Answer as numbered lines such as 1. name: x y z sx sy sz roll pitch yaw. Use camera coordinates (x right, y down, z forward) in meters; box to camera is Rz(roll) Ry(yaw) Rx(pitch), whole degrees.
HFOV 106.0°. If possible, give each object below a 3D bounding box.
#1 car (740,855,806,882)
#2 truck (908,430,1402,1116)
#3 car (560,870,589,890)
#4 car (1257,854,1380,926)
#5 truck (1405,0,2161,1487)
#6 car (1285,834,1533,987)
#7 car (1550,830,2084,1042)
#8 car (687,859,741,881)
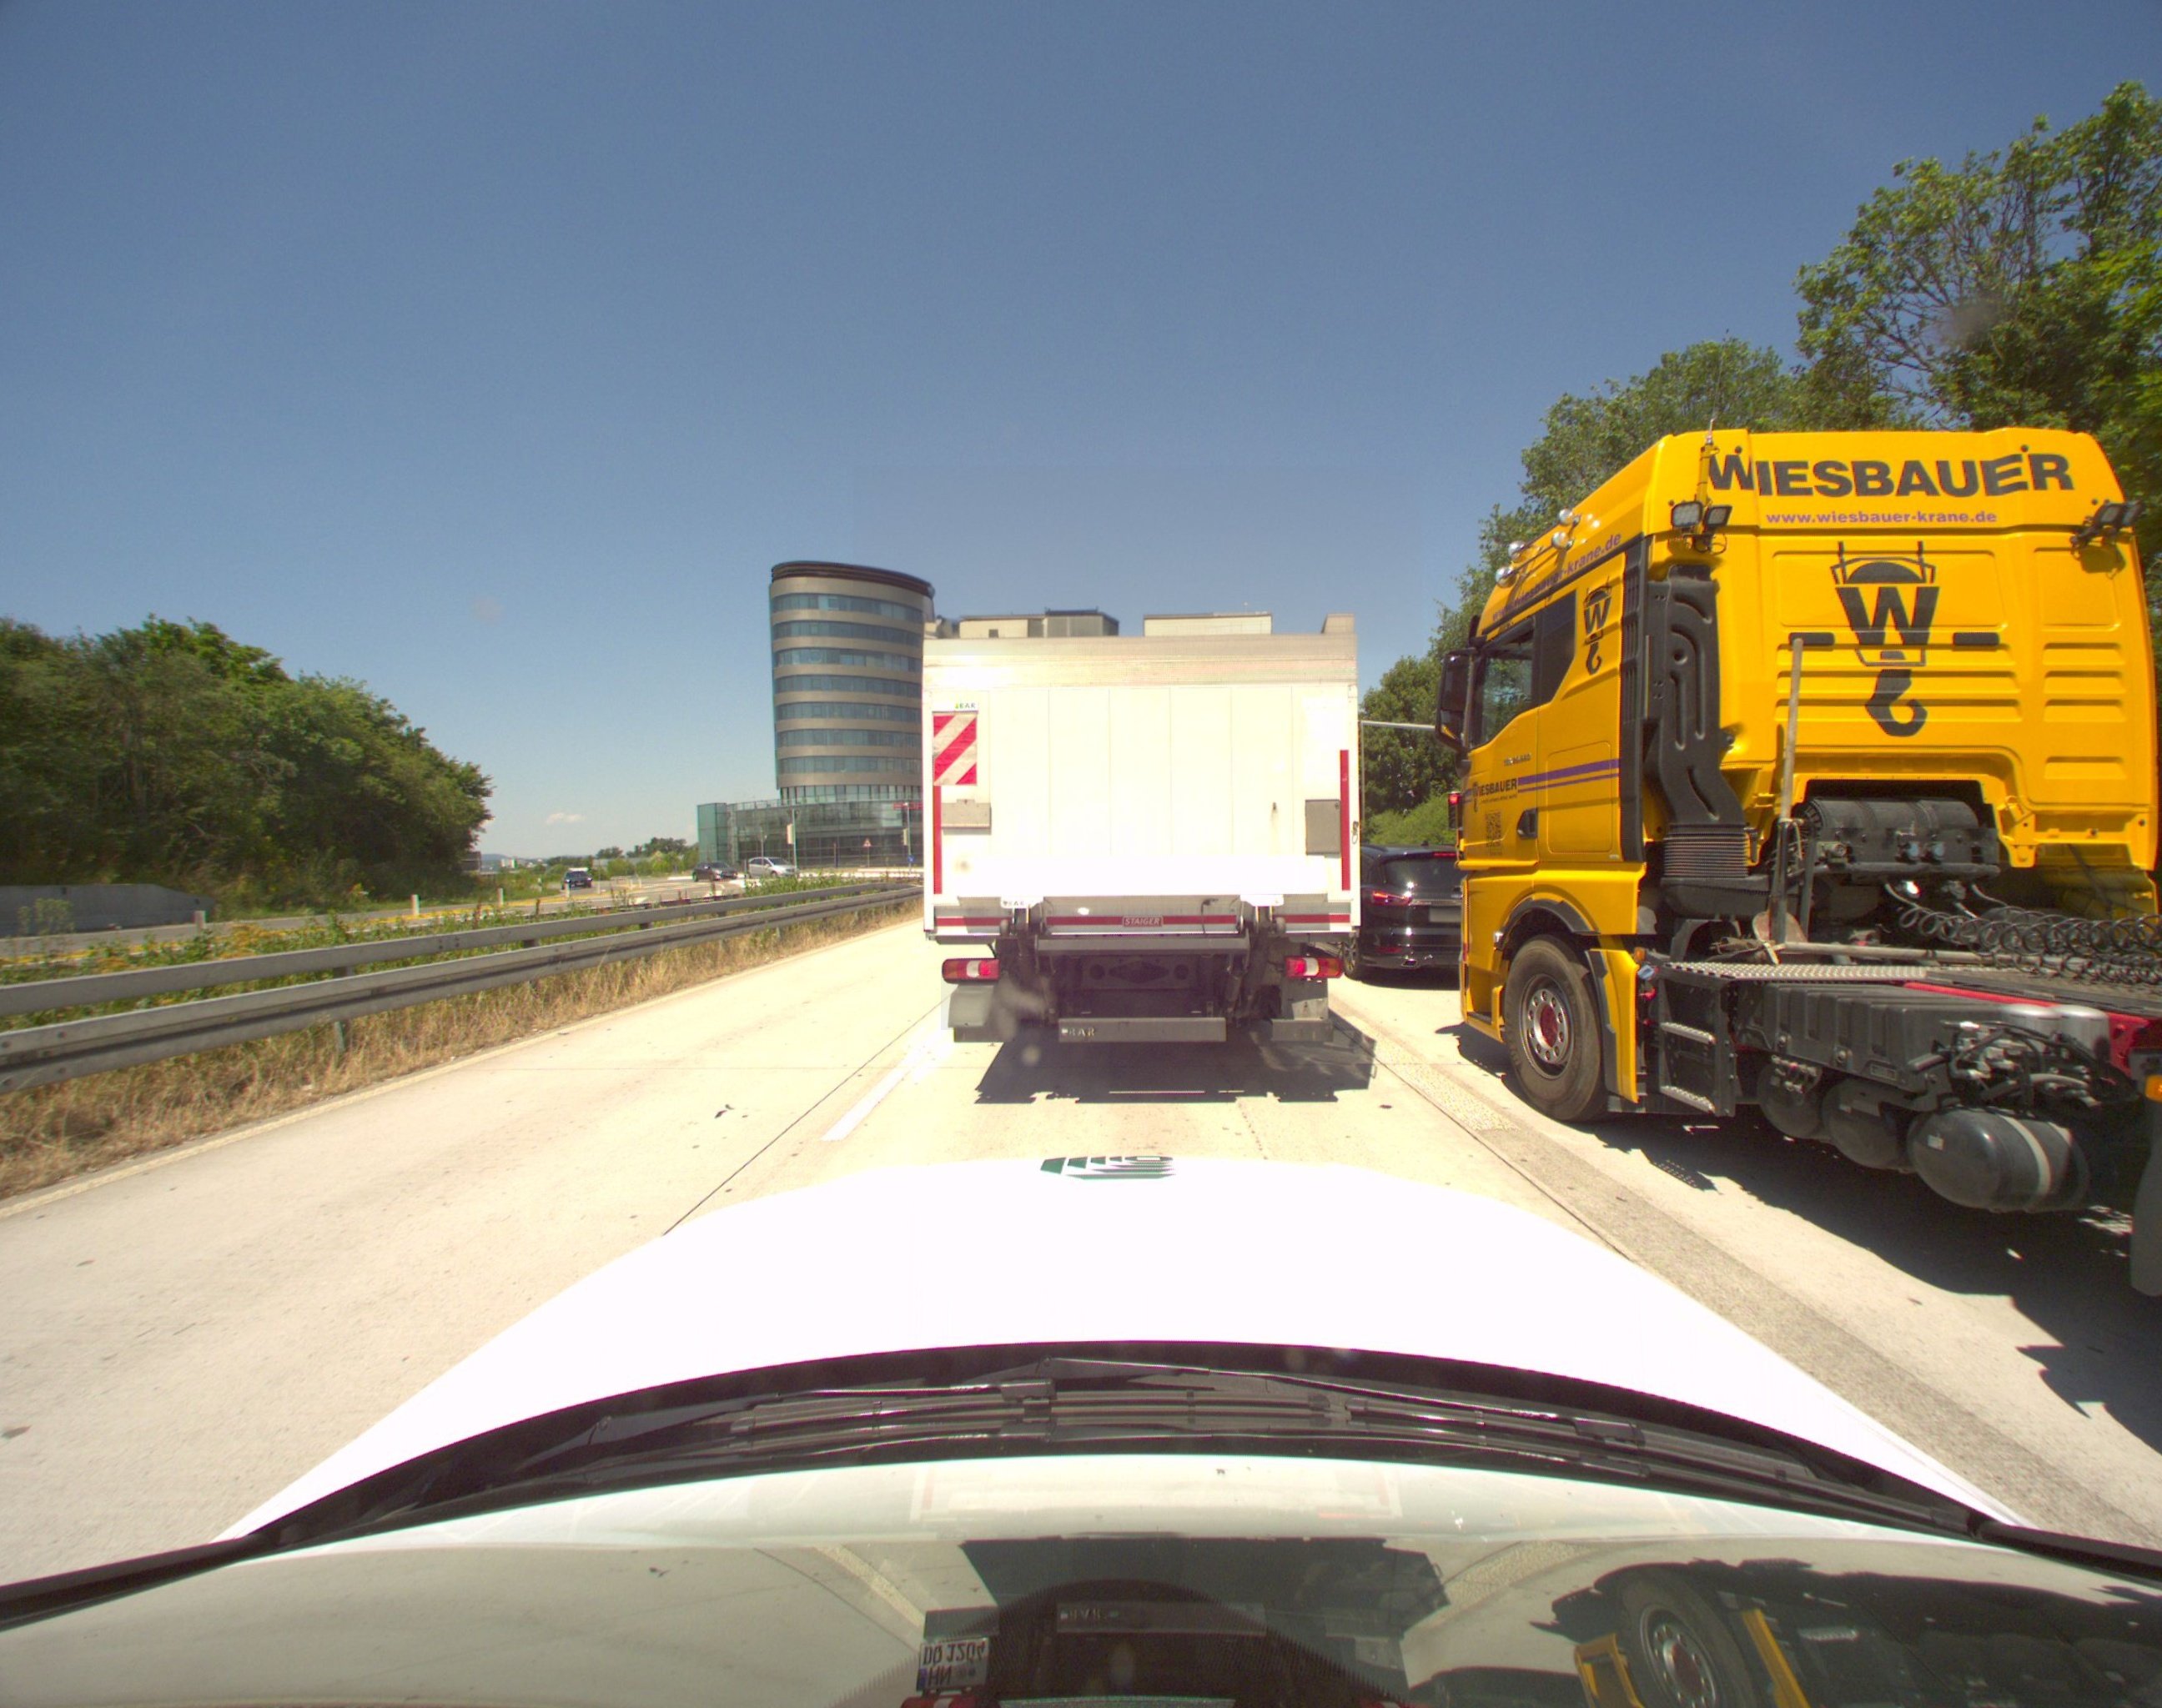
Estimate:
1. car: -20.653 0.982 54.574 4.274 1.595 1.788 -3 -2 29
2. truck: 0.559 -0.425 9.294 2.759 3.860 9.374 0 -1 2
3. car: -40.154 2.040 64.529 1.724 1.485 4.247 0 -1 -36
4. car: 5.145 0.727 18.252 1.759 1.410 4.615 0 0 5
5. truck: 3.936 -0.466 2.438 3.003 3.772 7.470 0 0 1
6. car: 4.115 0.628 11.102 1.776 1.639 4.652 0 0 4
7. car: 7.737 0.718 9.414 1.763 1.807 4.789 0 0 -2
8. car: -26.667 1.167 59.175 4.273 1.456 1.708 -3 -2 37
